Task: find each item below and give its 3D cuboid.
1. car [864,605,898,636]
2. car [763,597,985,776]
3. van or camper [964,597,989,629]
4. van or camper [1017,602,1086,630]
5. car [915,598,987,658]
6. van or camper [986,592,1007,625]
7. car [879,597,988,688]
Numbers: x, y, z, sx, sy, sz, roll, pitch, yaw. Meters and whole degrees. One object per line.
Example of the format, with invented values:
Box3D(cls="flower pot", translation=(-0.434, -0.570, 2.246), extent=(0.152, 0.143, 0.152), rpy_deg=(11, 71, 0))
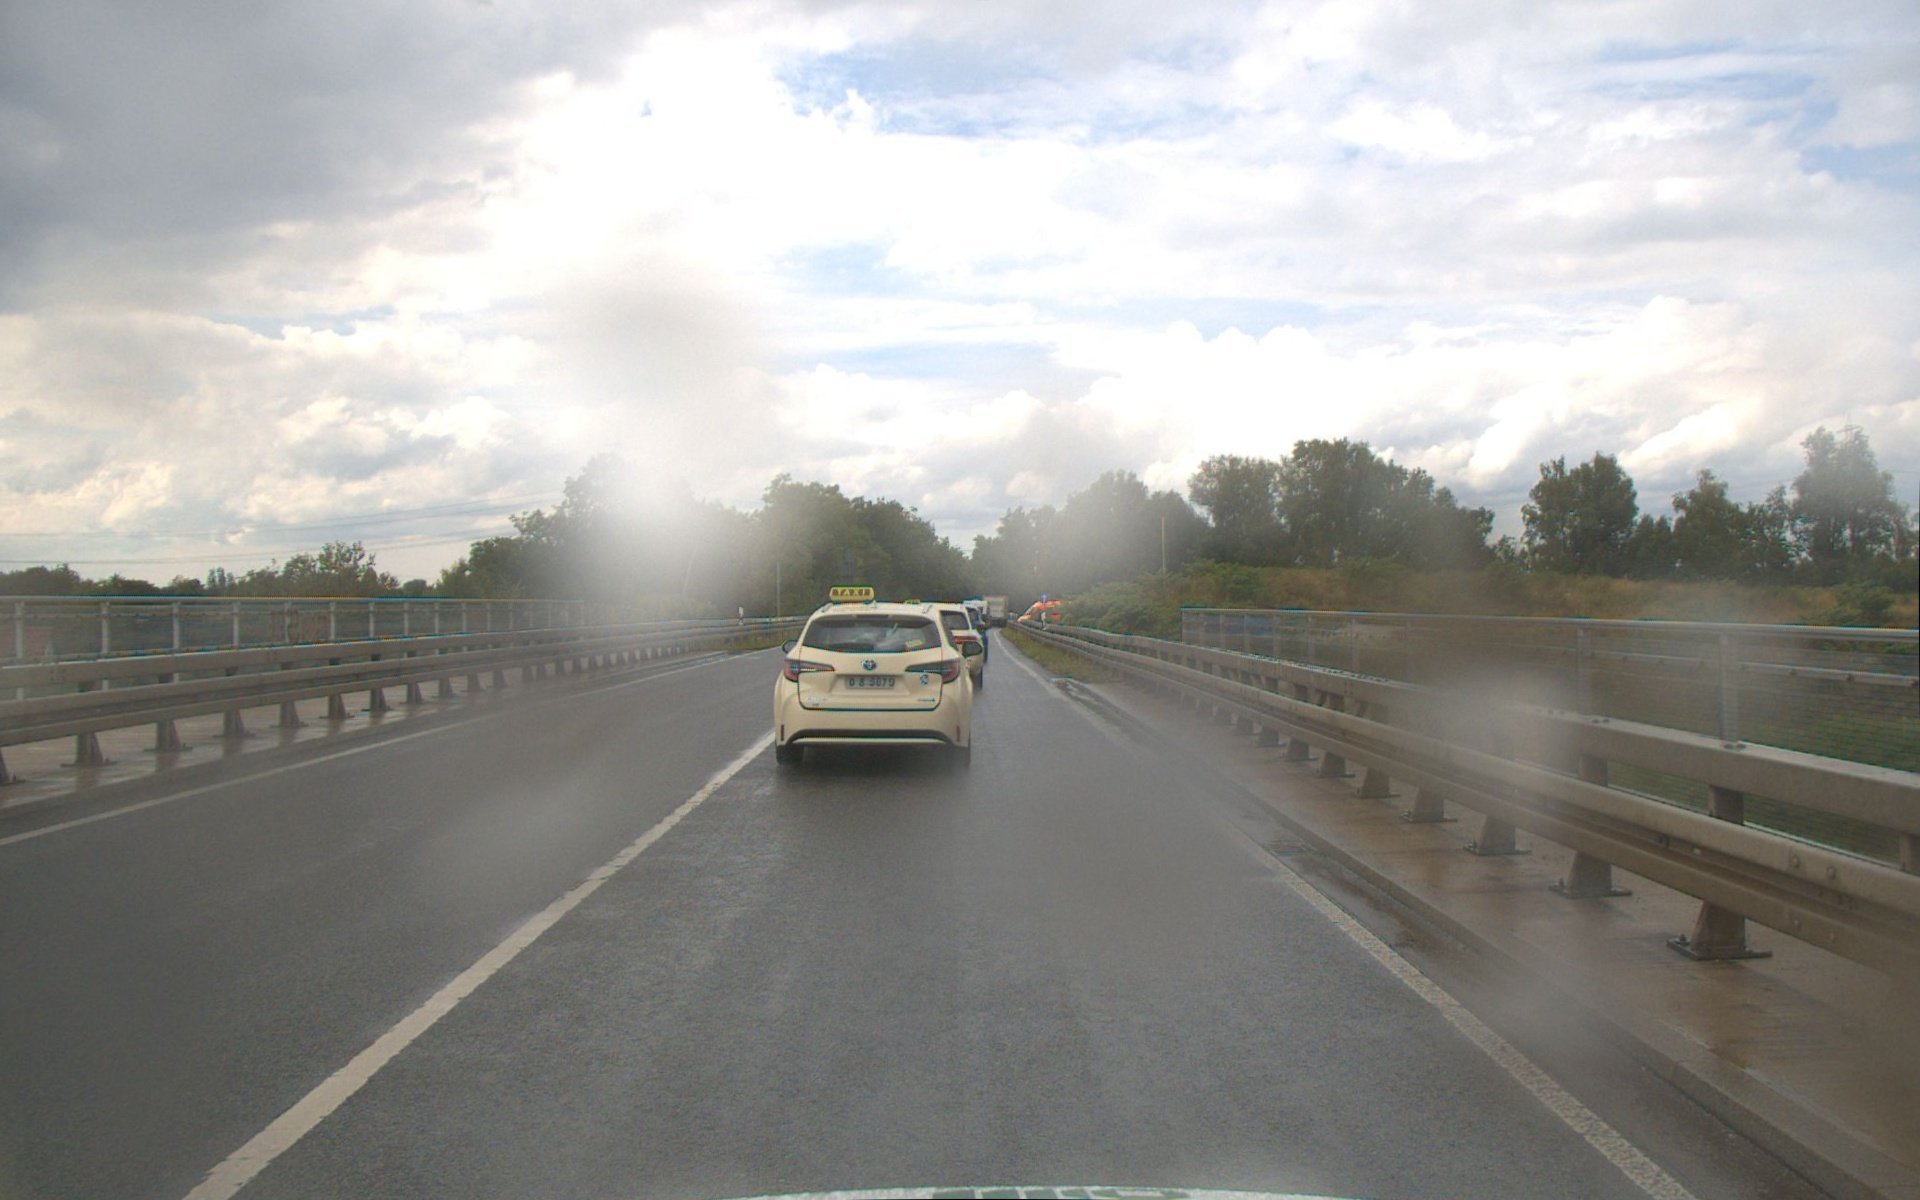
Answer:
Box3D(cls="car", translation=(-4.160, 1.089, 87.538), extent=(1.679, 1.543, 3.858), rpy_deg=(1, -1, -1))
Box3D(cls="car", translation=(-0.725, 0.712, 15.783), extent=(1.816, 1.418, 4.170), rpy_deg=(1, 1, 0))
Box3D(cls="van or camper", translation=(1.610, 1.222, 156.235), extent=(2.284, 2.914, 6.307), rpy_deg=(1, 0, 1))
Box3D(cls="van or camper", translation=(7.812, 1.355, 141.659), extent=(5.583, 2.281, 2.012), rpy_deg=(1, 0, -15))
Box3D(cls="car", translation=(-0.253, 0.730, 44.657), extent=(1.816, 1.468, 4.170), rpy_deg=(1, 1, 0))
Box3D(cls="van or camper", translation=(4.094, 0.961, 186.647), extent=(2.284, 3.625, 6.307), rpy_deg=(1, 0, 1))
Box3D(cls="car", translation=(-0.463, 0.723, 30.182), extent=(1.816, 1.468, 4.170), rpy_deg=(1, 1, 0))
